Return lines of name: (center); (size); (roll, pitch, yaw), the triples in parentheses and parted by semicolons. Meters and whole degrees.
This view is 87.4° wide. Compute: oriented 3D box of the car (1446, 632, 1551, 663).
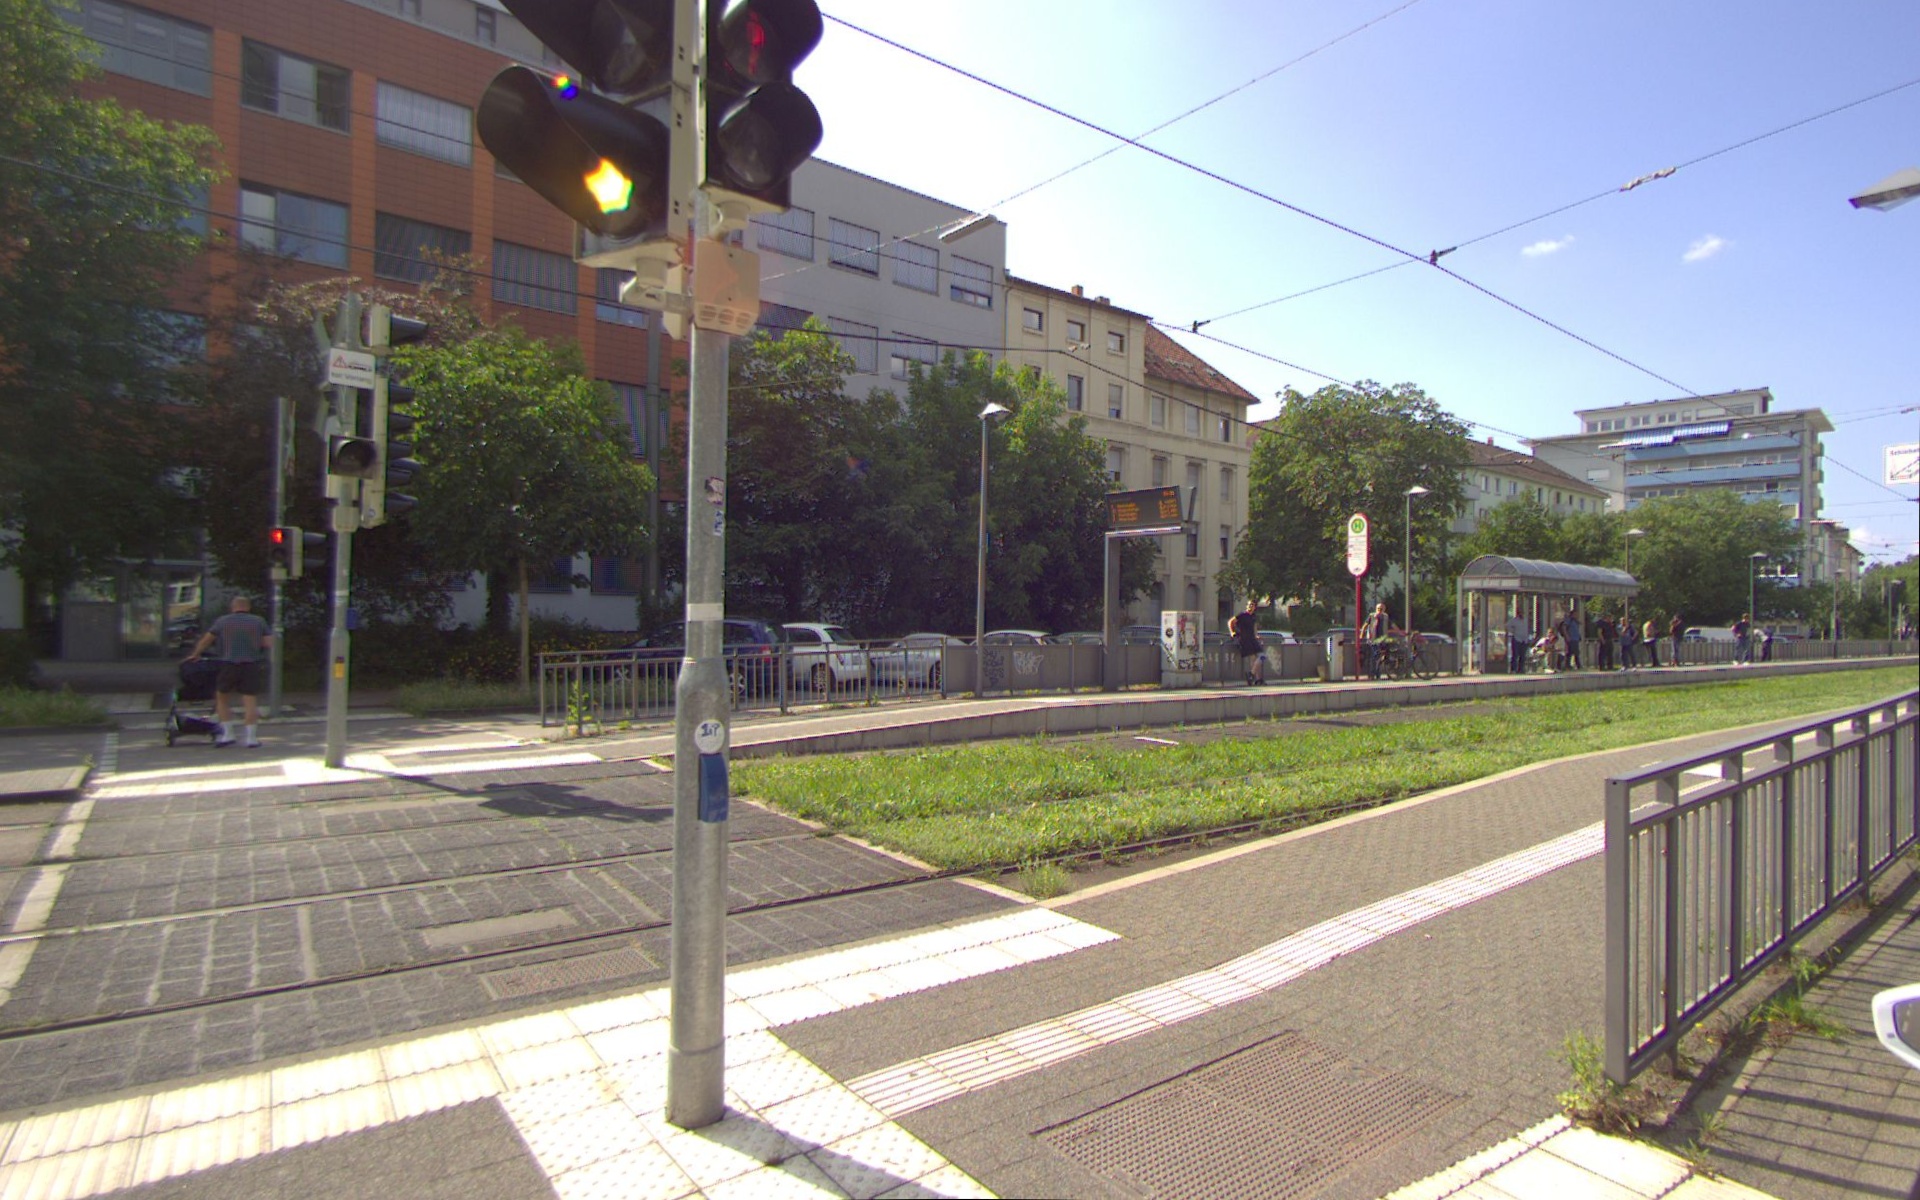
car: (24.744, 2.162, 46.247); (3.919, 1.385, 1.717); (0, -2, 12)

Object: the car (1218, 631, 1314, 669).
car: (11.288, 1.842, 37.198); (3.181, 1.326, 1.457); (0, -1, 7)

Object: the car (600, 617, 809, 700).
car: (-5.532, 1.218, 21.879); (4.049, 1.662, 1.727); (0, -1, 13)

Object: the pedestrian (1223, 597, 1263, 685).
pedestrian: (5.757, 0.826, 20.478); (0.654, 1.749, 0.715); (0, -1, 5)

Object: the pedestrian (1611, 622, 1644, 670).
pedestrian: (20.079, 1.380, 30.228); (0.552, 1.444, 0.656); (0, -1, 0)

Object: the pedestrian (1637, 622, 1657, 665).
pedestrian: (23.976, 1.520, 35.054); (0.482, 1.471, 0.461); (-1, -2, 43)

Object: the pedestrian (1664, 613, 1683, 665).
pedestrian: (24.363, 1.332, 34.296); (0.482, 1.735, 0.461); (-1, -2, 43)

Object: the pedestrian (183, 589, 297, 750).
pedestrian: (-8.527, 0.802, 11.901); (0.996, 1.798, 0.863); (2, -3, -42)

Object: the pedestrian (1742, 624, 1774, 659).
pedestrian: (34.505, 1.797, 43.437); (1.016, 1.456, 0.700); (-2, -2, 38)

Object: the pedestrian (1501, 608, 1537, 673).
pedestrian: (15.183, 1.096, 27.284); (0.650, 1.714, 0.650); (1, -2, -37)

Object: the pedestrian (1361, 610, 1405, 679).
pedestrian: (9.897, 1.040, 23.520); (0.677, 1.590, 0.661); (1, -2, -30)

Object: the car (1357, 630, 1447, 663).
car: (18.695, 1.971, 42.557); (3.181, 1.326, 1.457); (0, -1, 7)

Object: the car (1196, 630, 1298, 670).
car: (9.963, 1.723, 35.010); (3.181, 1.326, 1.457); (1, -1, 4)

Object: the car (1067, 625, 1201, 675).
car: (5.321, 1.495, 30.621); (3.919, 1.476, 1.692); (0, -2, 13)

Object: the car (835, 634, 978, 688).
car: (-1.330, 1.521, 25.411); (3.320, 1.252, 1.545); (0, -1, 13)

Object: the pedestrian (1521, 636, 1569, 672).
pedestrian: (16.399, 1.507, 28.143); (0.789, 1.001, 0.919); (3, -3, -35)

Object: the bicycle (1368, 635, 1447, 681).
bicycle: (10.157, 1.310, 22.799); (1.749, 0.987, 0.683); (1, -3, -28)

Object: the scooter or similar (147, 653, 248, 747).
scooter or similar: (-9.288, 1.195, 12.238); (0.943, 1.078, 0.793); (-3, -3, 41)

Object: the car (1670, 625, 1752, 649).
car: (48.490, 2.350, 64.928); (3.920, 1.466, 1.728); (0, -1, 18)

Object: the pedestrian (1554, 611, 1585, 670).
pedestrian: (18.178, 1.204, 29.966); (0.551, 1.759, 0.590); (1, -2, -33)

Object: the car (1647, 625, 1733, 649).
car: (44.606, 2.269, 61.423); (3.919, 1.404, 1.640); (0, -1, 7)

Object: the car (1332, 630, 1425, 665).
car: (16.801, 1.910, 40.419); (3.181, 1.326, 1.457); (0, -1, 7)

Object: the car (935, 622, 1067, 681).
car: (1.140, 1.371, 27.371); (3.320, 1.525, 1.545); (0, -1, 15)

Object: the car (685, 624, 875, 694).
car: (-4.219, 1.348, 23.745); (4.049, 1.519, 1.727); (0, -1, 13)

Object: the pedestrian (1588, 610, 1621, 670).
pedestrian: (19.354, 1.202, 30.163); (0.631, 1.789, 0.602); (1, -1, -28)

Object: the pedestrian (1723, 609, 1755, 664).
pedestrian: (29.115, 1.355, 37.554); (0.656, 2.040, 0.796); (1, -1, -35)
